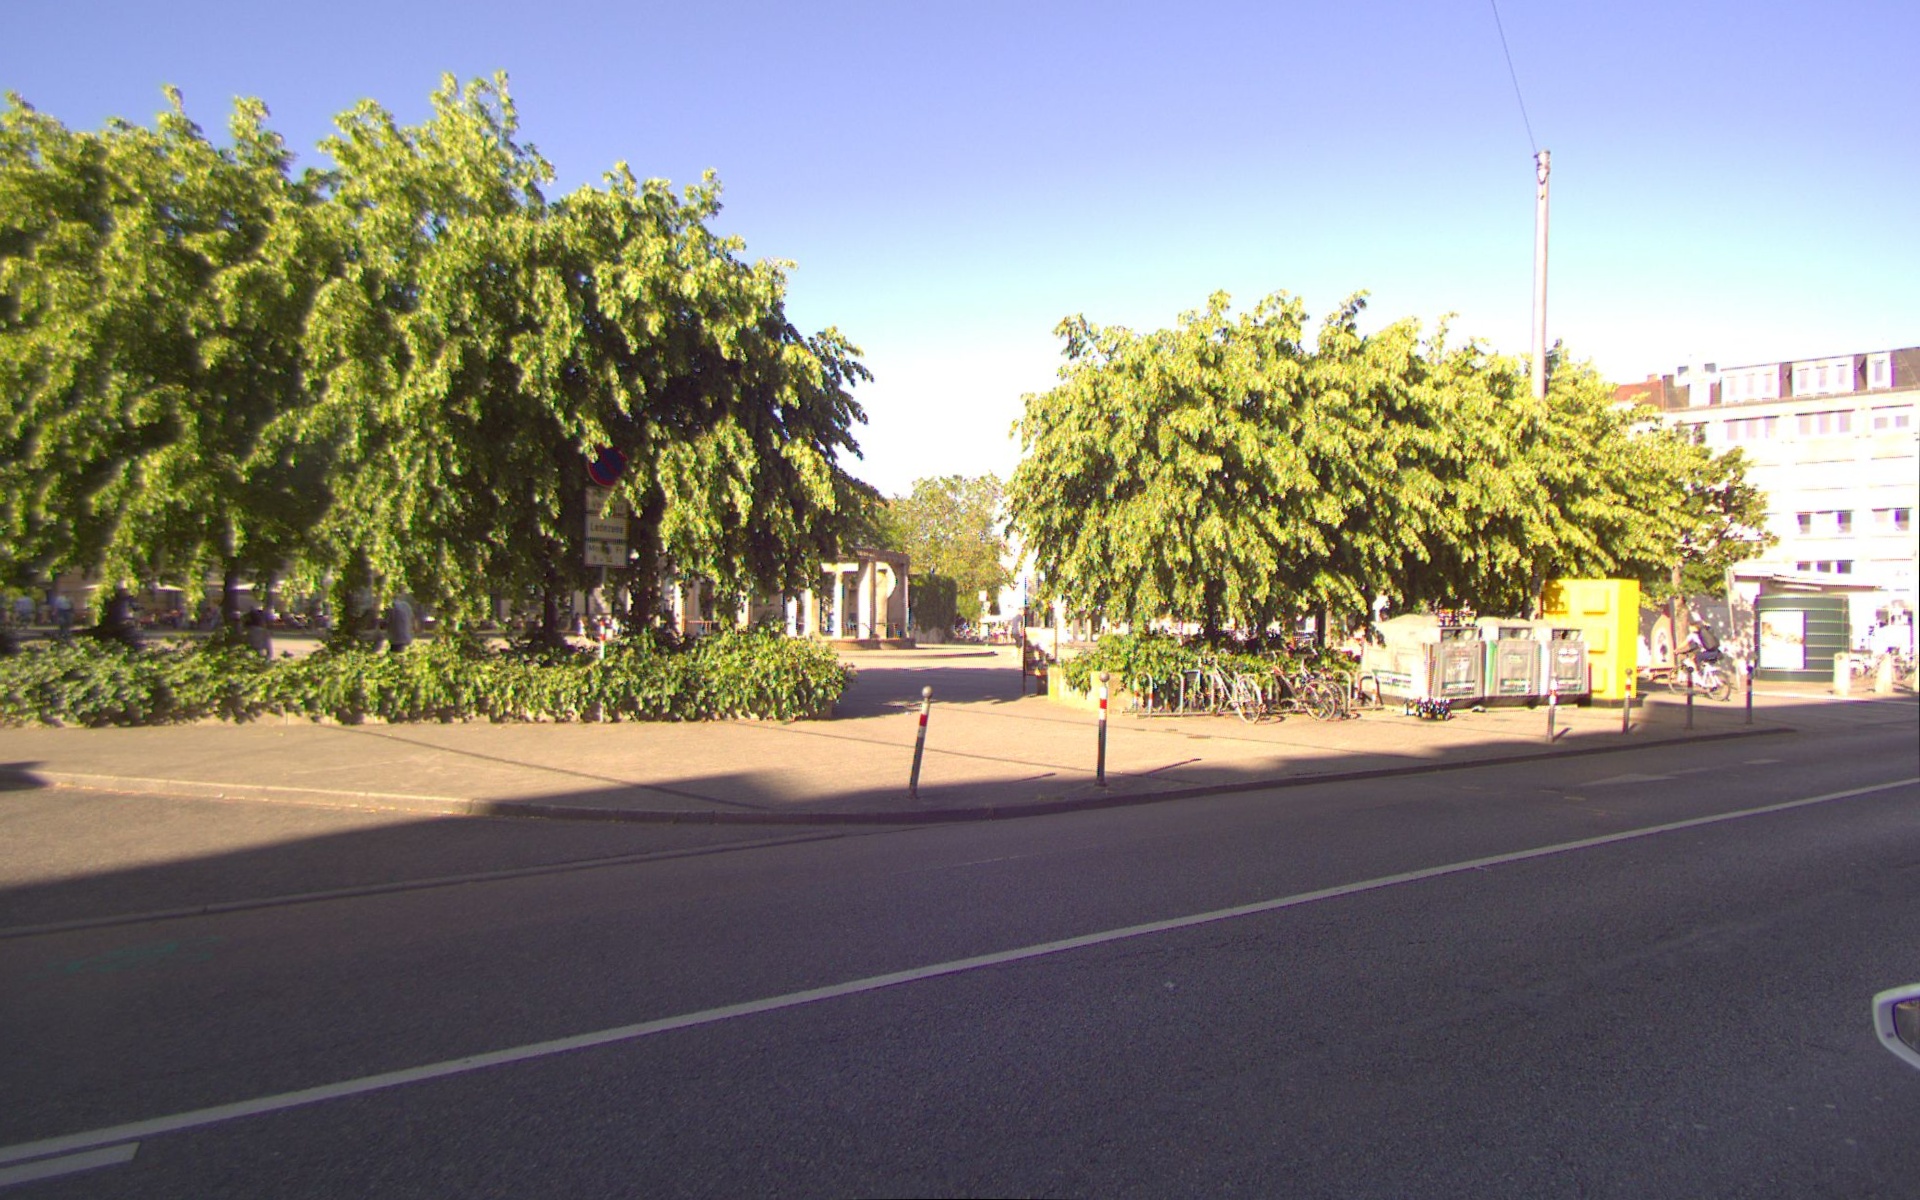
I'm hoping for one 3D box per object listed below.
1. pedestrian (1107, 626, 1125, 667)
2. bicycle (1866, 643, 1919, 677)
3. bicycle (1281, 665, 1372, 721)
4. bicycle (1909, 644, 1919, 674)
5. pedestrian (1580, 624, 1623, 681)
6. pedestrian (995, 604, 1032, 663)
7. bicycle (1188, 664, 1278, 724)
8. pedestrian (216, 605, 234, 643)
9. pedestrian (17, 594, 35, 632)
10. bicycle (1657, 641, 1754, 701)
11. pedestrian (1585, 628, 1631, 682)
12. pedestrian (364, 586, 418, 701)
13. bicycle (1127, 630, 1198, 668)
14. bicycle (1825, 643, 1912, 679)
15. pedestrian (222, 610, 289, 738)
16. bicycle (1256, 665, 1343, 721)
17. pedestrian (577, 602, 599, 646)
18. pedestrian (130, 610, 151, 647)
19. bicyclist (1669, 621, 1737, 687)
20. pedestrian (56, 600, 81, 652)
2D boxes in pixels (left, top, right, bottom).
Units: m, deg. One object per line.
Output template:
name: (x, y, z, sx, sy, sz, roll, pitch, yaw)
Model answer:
pedestrian: (7.938, 2.355, 51.032, 0.670, 2.040, 0.579, 2, 0, -23)
bicycle: (33.166, 2.112, 35.131, 0.796, 1.119, 2.072, 1, -1, -30)
bicycle: (5.961, 1.498, 16.418, 0.468, 0.779, 1.468, 2, 0, -27)
bicycle: (37.128, 2.247, 37.710, 0.796, 1.119, 2.072, 1, -1, -30)
pedestrian: (20.435, 1.664, 31.991, 0.734, 1.748, 0.898, 1, 0, -26)
pedestrian: (1.663, 1.036, 31.227, 0.918, 1.775, 0.728, 2, 0, -15)
bicycle: (4.197, 1.426, 15.555, 0.467, 0.779, 1.653, 2, 0, -20)
pedestrian: (-35.778, 1.155, 48.903, 0.579, 1.816, 0.593, 2, 0, -44)
pedestrian: (-44.509, 0.623, 47.875, 0.597, 1.816, 0.575, 2, 0, -44)
bicycle: (16.956, 1.588, 22.905, 0.784, 1.249, 1.772, 1, -1, -5)
pedestrian: (20.517, 1.714, 31.813, 0.727, 1.658, 0.983, 1, 0, -26)
pedestrian: (-9.566, 0.717, 16.884, 0.574, 1.881, 0.598, 1, 0, 41)
bicycle: (5.884, 1.425, 29.155, 2.026, 1.030, 0.502, 2, 0, -17)
bicycle: (30.860, 2.065, 34.157, 0.796, 1.119, 2.072, 1, -1, -30)
pedestrian: (-10.677, 1.097, 15.246, 0.722, 1.881, 0.578, 2, 0, -28)
bicycle: (5.450, 1.477, 16.203, 0.435, 0.779, 1.469, 2, 0, -25)
pedestrian: (-14.929, 0.979, 40.327, 0.579, 1.744, 0.593, 2, 0, -44)
pedestrian: (-41.090, 1.413, 50.370, 0.571, 1.816, 0.601, 1, 0, 19)
bicyclist: (16.958, 1.218, 22.944, 0.783, 1.454, 1.007, 1, -1, -5)
pedestrian: (-31.488, 0.909, 35.484, 0.597, 1.816, 0.576, 2, 0, -40)
